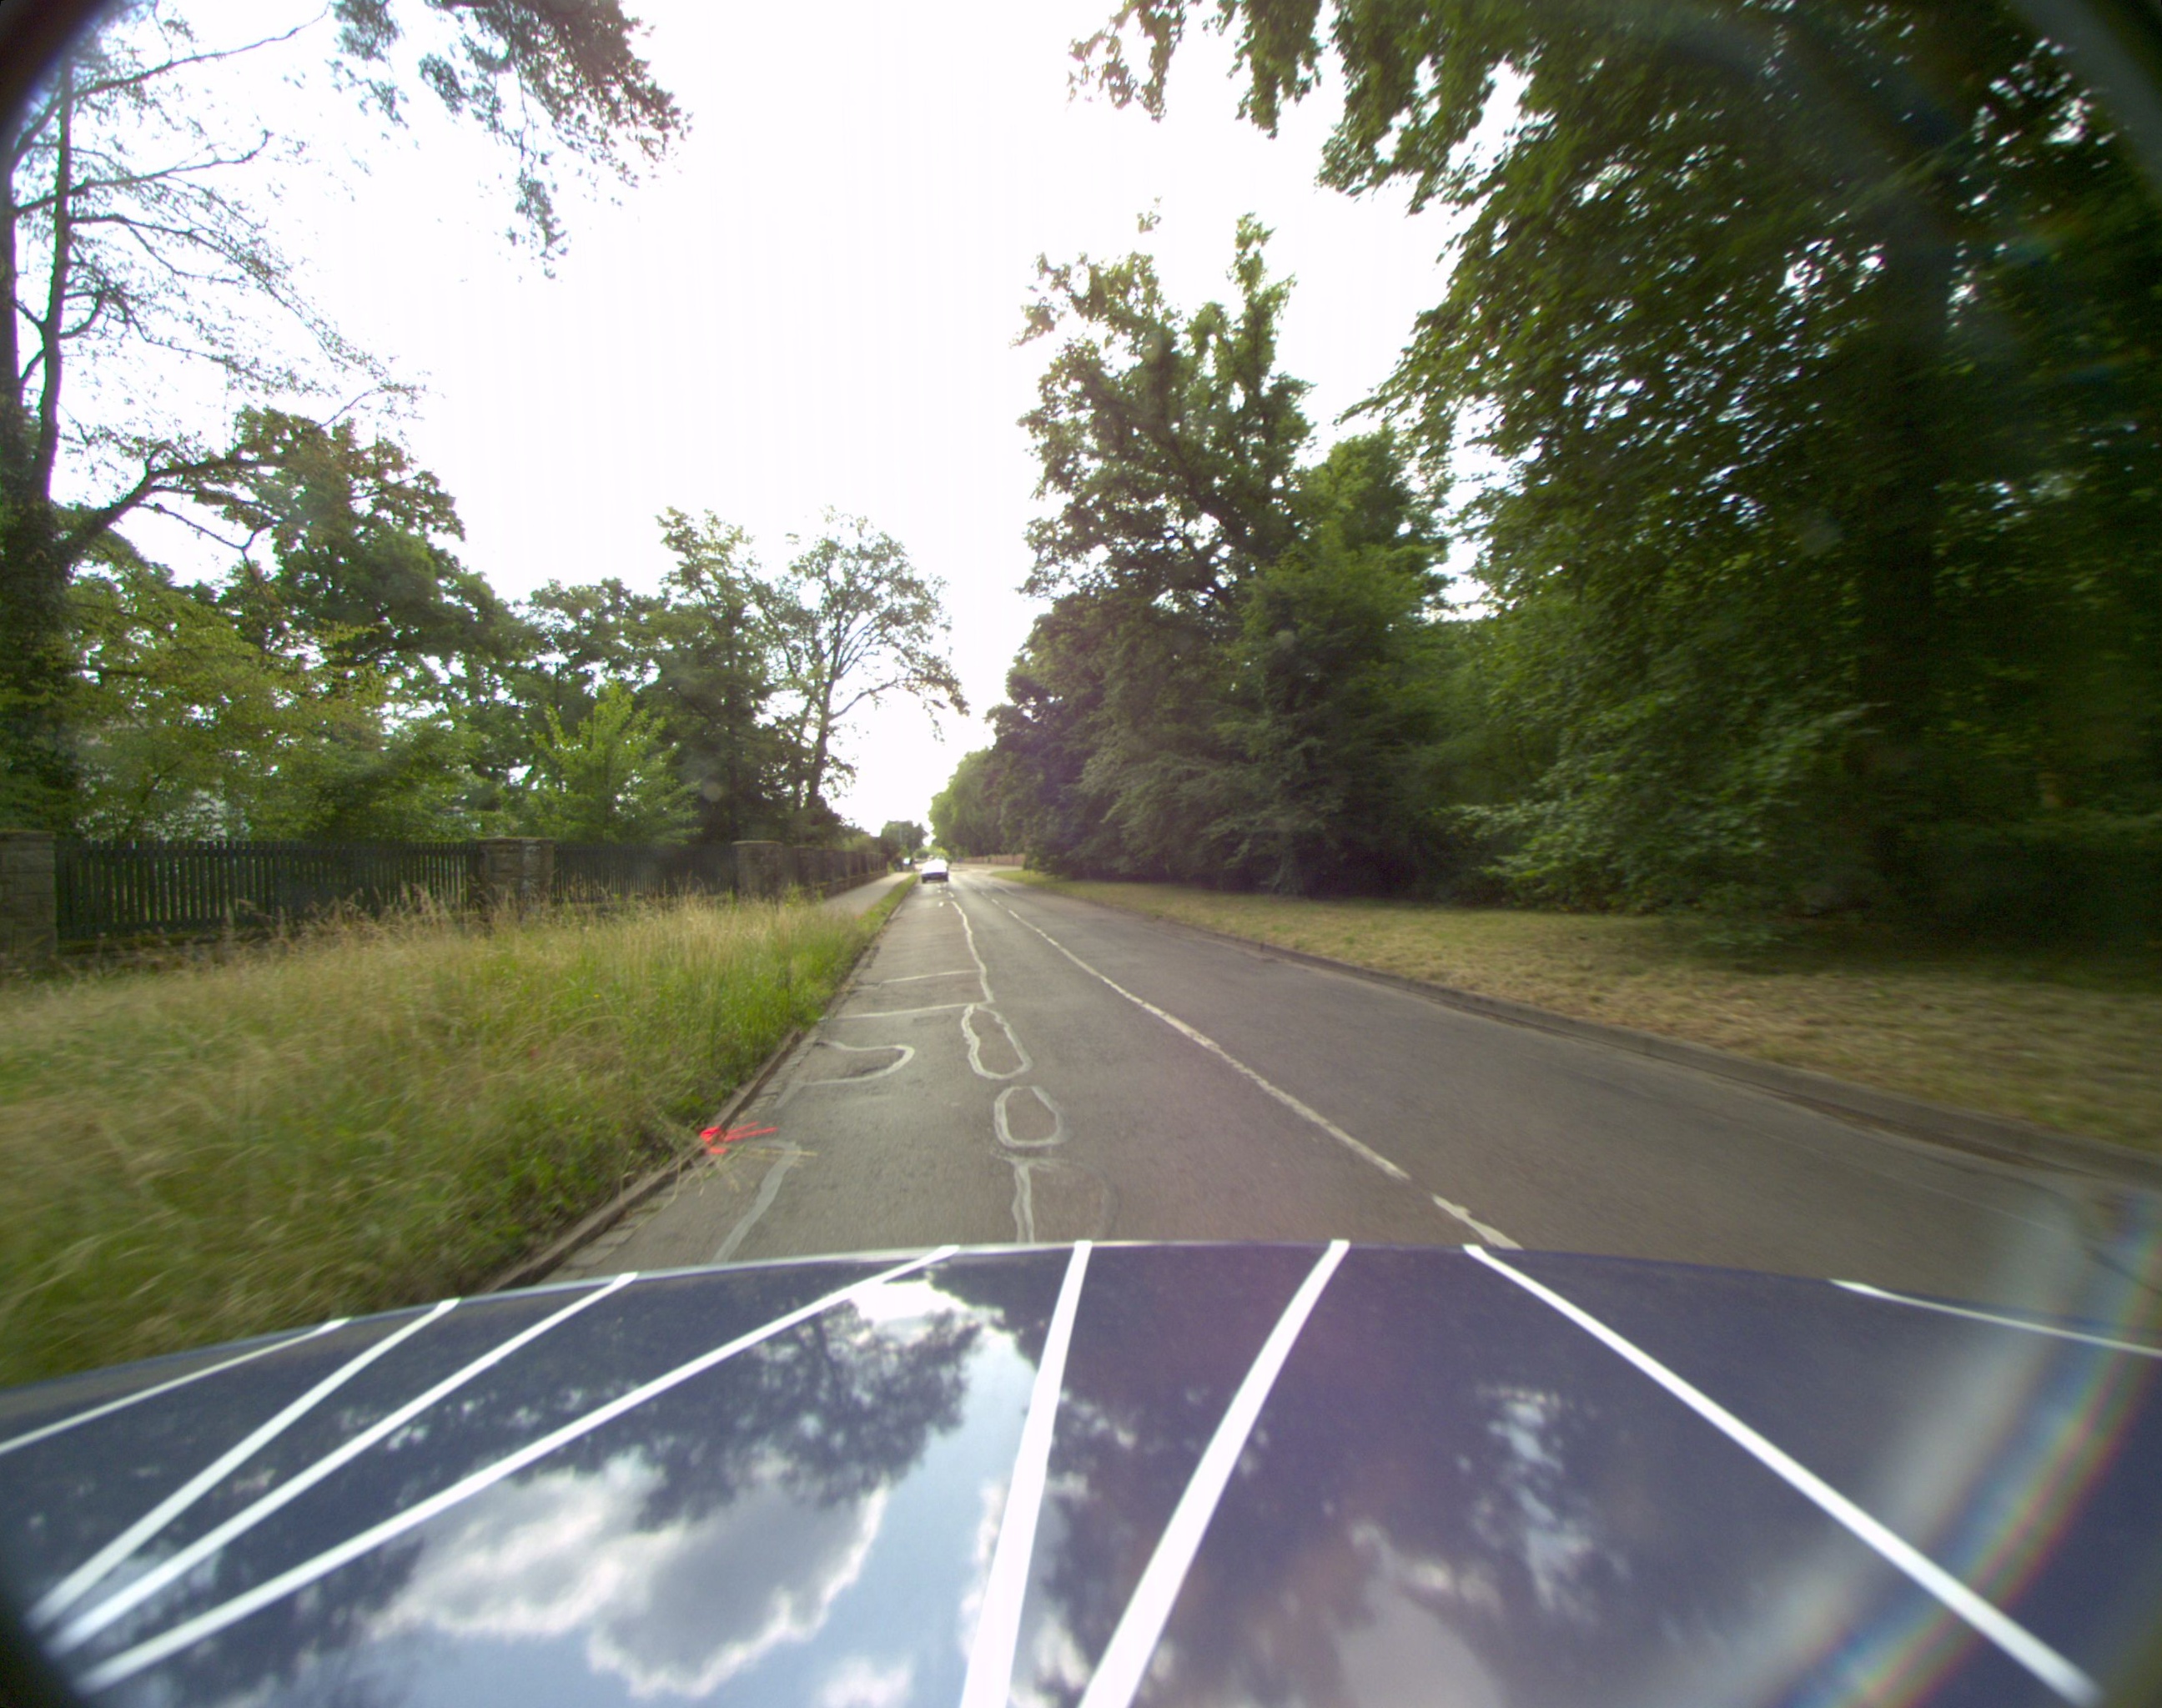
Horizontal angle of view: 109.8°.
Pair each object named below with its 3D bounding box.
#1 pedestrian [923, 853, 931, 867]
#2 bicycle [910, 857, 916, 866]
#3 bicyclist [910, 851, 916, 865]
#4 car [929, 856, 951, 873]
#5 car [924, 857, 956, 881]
[{"bbox_3d":[-18.632,0.779,92.063,0.832,1.640,0.626,-1,-3,5],"label":"pedestrian"},{"bbox_3d":[-19.096,0.854,86.415,0.560,1.066,2.155,0,-1,-11],"label":"bicycle"},{"bbox_3d":[-19.053,0.505,86.285,0.571,1.578,1.204,0,0,-11],"label":"bicyclist"},{"bbox_3d":[-13.274,0.983,71.702,2.000,1.455,4.199,-1,1,-10],"label":"car"},{"bbox_3d":[-9.791,1.092,52.461,1.967,1.455,4.526,-3,-1,-13],"label":"car"}]
